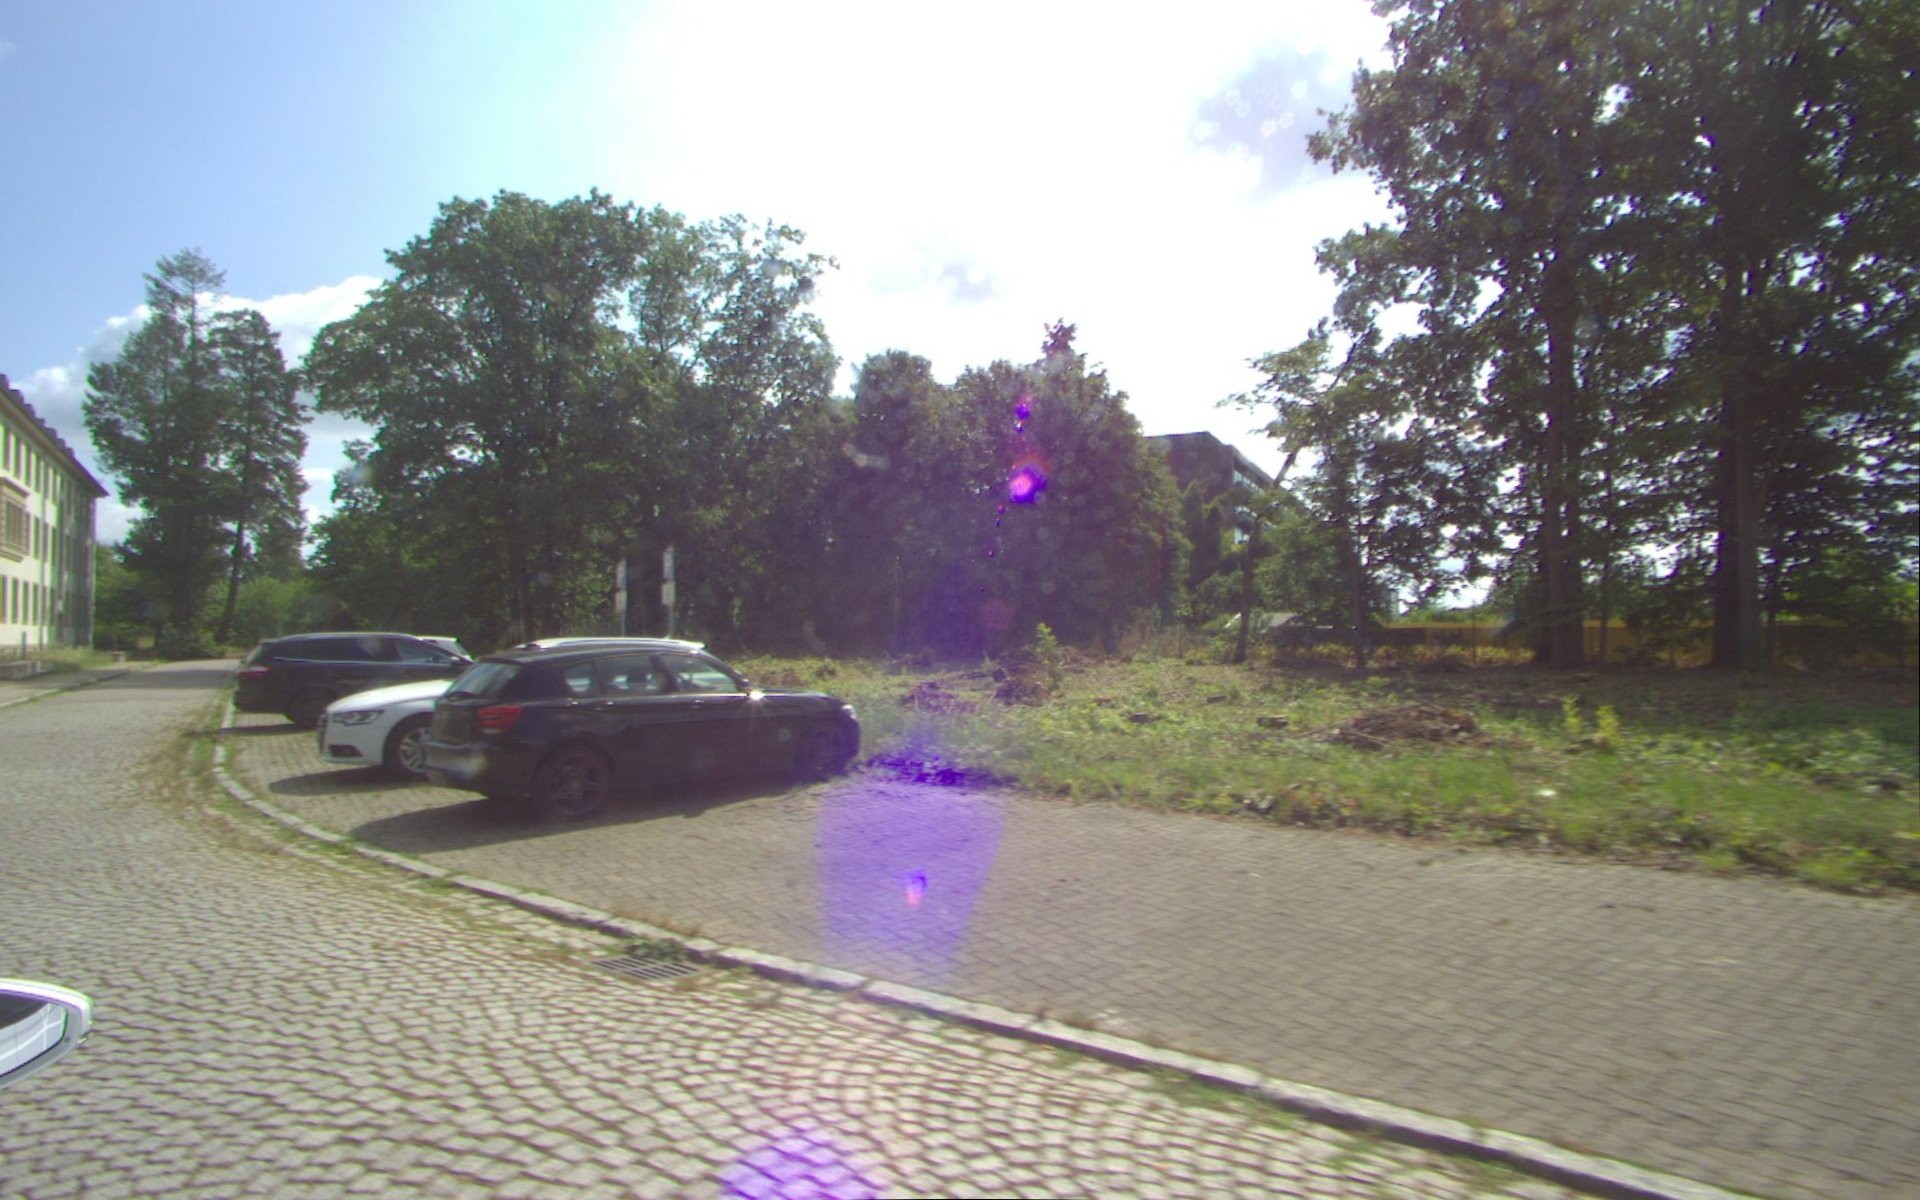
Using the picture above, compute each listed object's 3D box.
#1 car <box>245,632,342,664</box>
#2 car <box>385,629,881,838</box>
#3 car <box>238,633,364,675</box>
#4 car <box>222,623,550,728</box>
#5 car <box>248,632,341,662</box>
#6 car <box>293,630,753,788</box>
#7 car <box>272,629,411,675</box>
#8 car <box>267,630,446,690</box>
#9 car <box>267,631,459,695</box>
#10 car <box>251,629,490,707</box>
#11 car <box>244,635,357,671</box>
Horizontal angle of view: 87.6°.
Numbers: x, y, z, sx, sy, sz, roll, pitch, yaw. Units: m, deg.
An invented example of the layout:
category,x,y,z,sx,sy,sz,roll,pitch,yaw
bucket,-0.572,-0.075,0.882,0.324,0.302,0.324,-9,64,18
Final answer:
category,x,y,z,sx,sy,sz,roll,pitch,yaw
car,-34.494,2.464,51.901,4.146,1.503,1.809,0,-2,-35
car,-2.990,1.083,9.818,1.811,1.520,4.298,0,-1,45
car,-26.411,2.131,40.221,4.146,1.563,1.809,0,-2,-35
car,-9.985,1.234,17.614,4.811,1.572,1.866,0,-2,-38
car,-35.927,2.508,54.138,4.146,1.503,1.809,0,-2,-35
car,-5.122,1.145,12.136,4.820,1.492,1.860,0,-1,-38
car,-22.474,1.861,36.471,4.225,1.503,1.809,0,-2,-35
car,-16.705,1.614,27.810,4.146,1.503,1.749,0,-2,-35
car,-15.453,1.587,26.017,4.167,1.503,1.809,0,-2,-35
car,-12.903,1.429,22.044,4.360,1.503,1.753,0,-2,-38
car,-29.383,2.339,44.683,4.146,1.503,1.809,0,-2,-35
